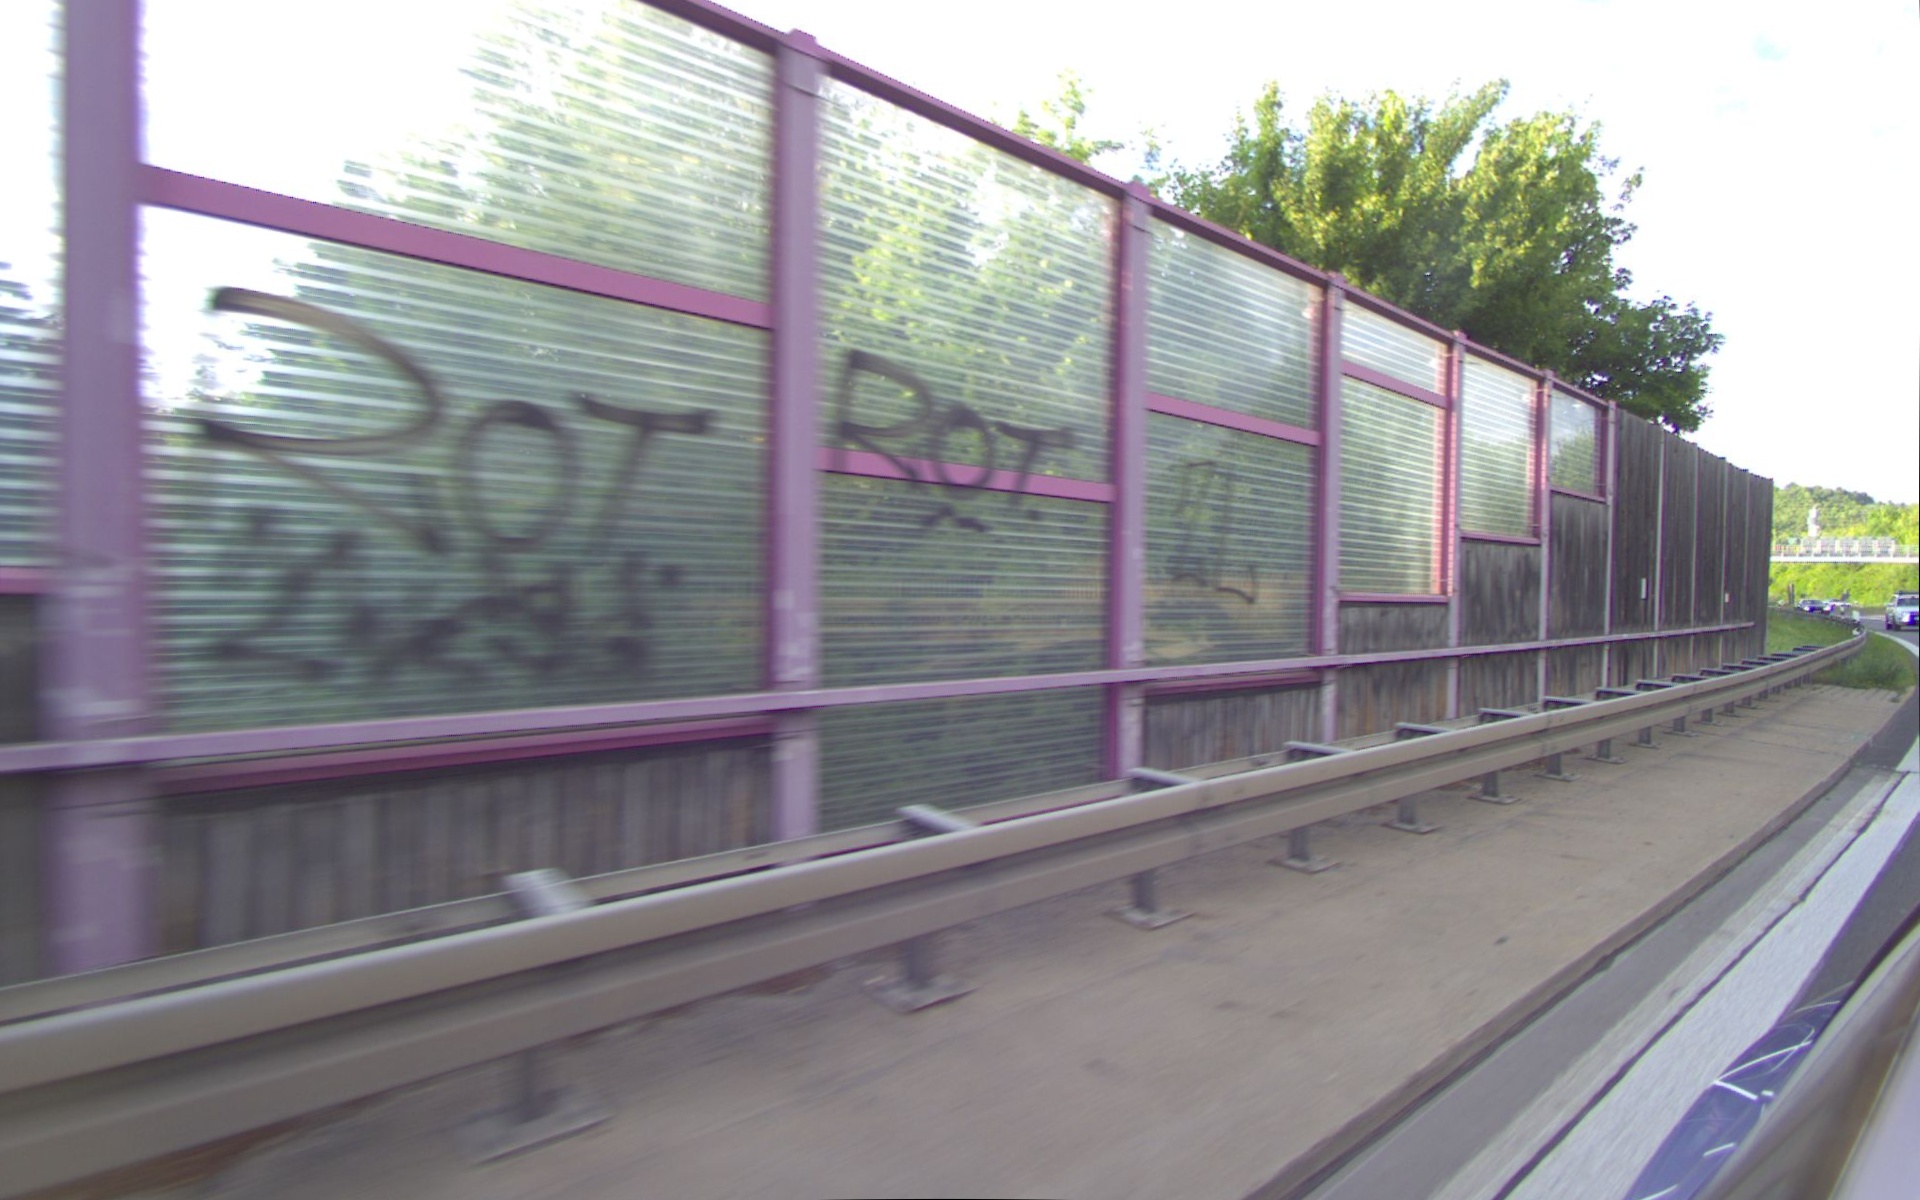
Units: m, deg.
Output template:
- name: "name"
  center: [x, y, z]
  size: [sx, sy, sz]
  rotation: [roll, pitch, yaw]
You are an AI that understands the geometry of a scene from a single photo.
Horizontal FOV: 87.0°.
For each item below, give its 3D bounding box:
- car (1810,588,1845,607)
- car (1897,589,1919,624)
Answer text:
- name: "car"
  center: [70.399, -0.190, 82.156]
  size: [1.609, 1.478, 3.620]
  rotation: [-1, 0, 32]
- name: "car"
  center: [47.955, 0.310, 50.201]
  size: [1.897, 1.686, 3.942]
  rotation: [-2, -1, 40]
